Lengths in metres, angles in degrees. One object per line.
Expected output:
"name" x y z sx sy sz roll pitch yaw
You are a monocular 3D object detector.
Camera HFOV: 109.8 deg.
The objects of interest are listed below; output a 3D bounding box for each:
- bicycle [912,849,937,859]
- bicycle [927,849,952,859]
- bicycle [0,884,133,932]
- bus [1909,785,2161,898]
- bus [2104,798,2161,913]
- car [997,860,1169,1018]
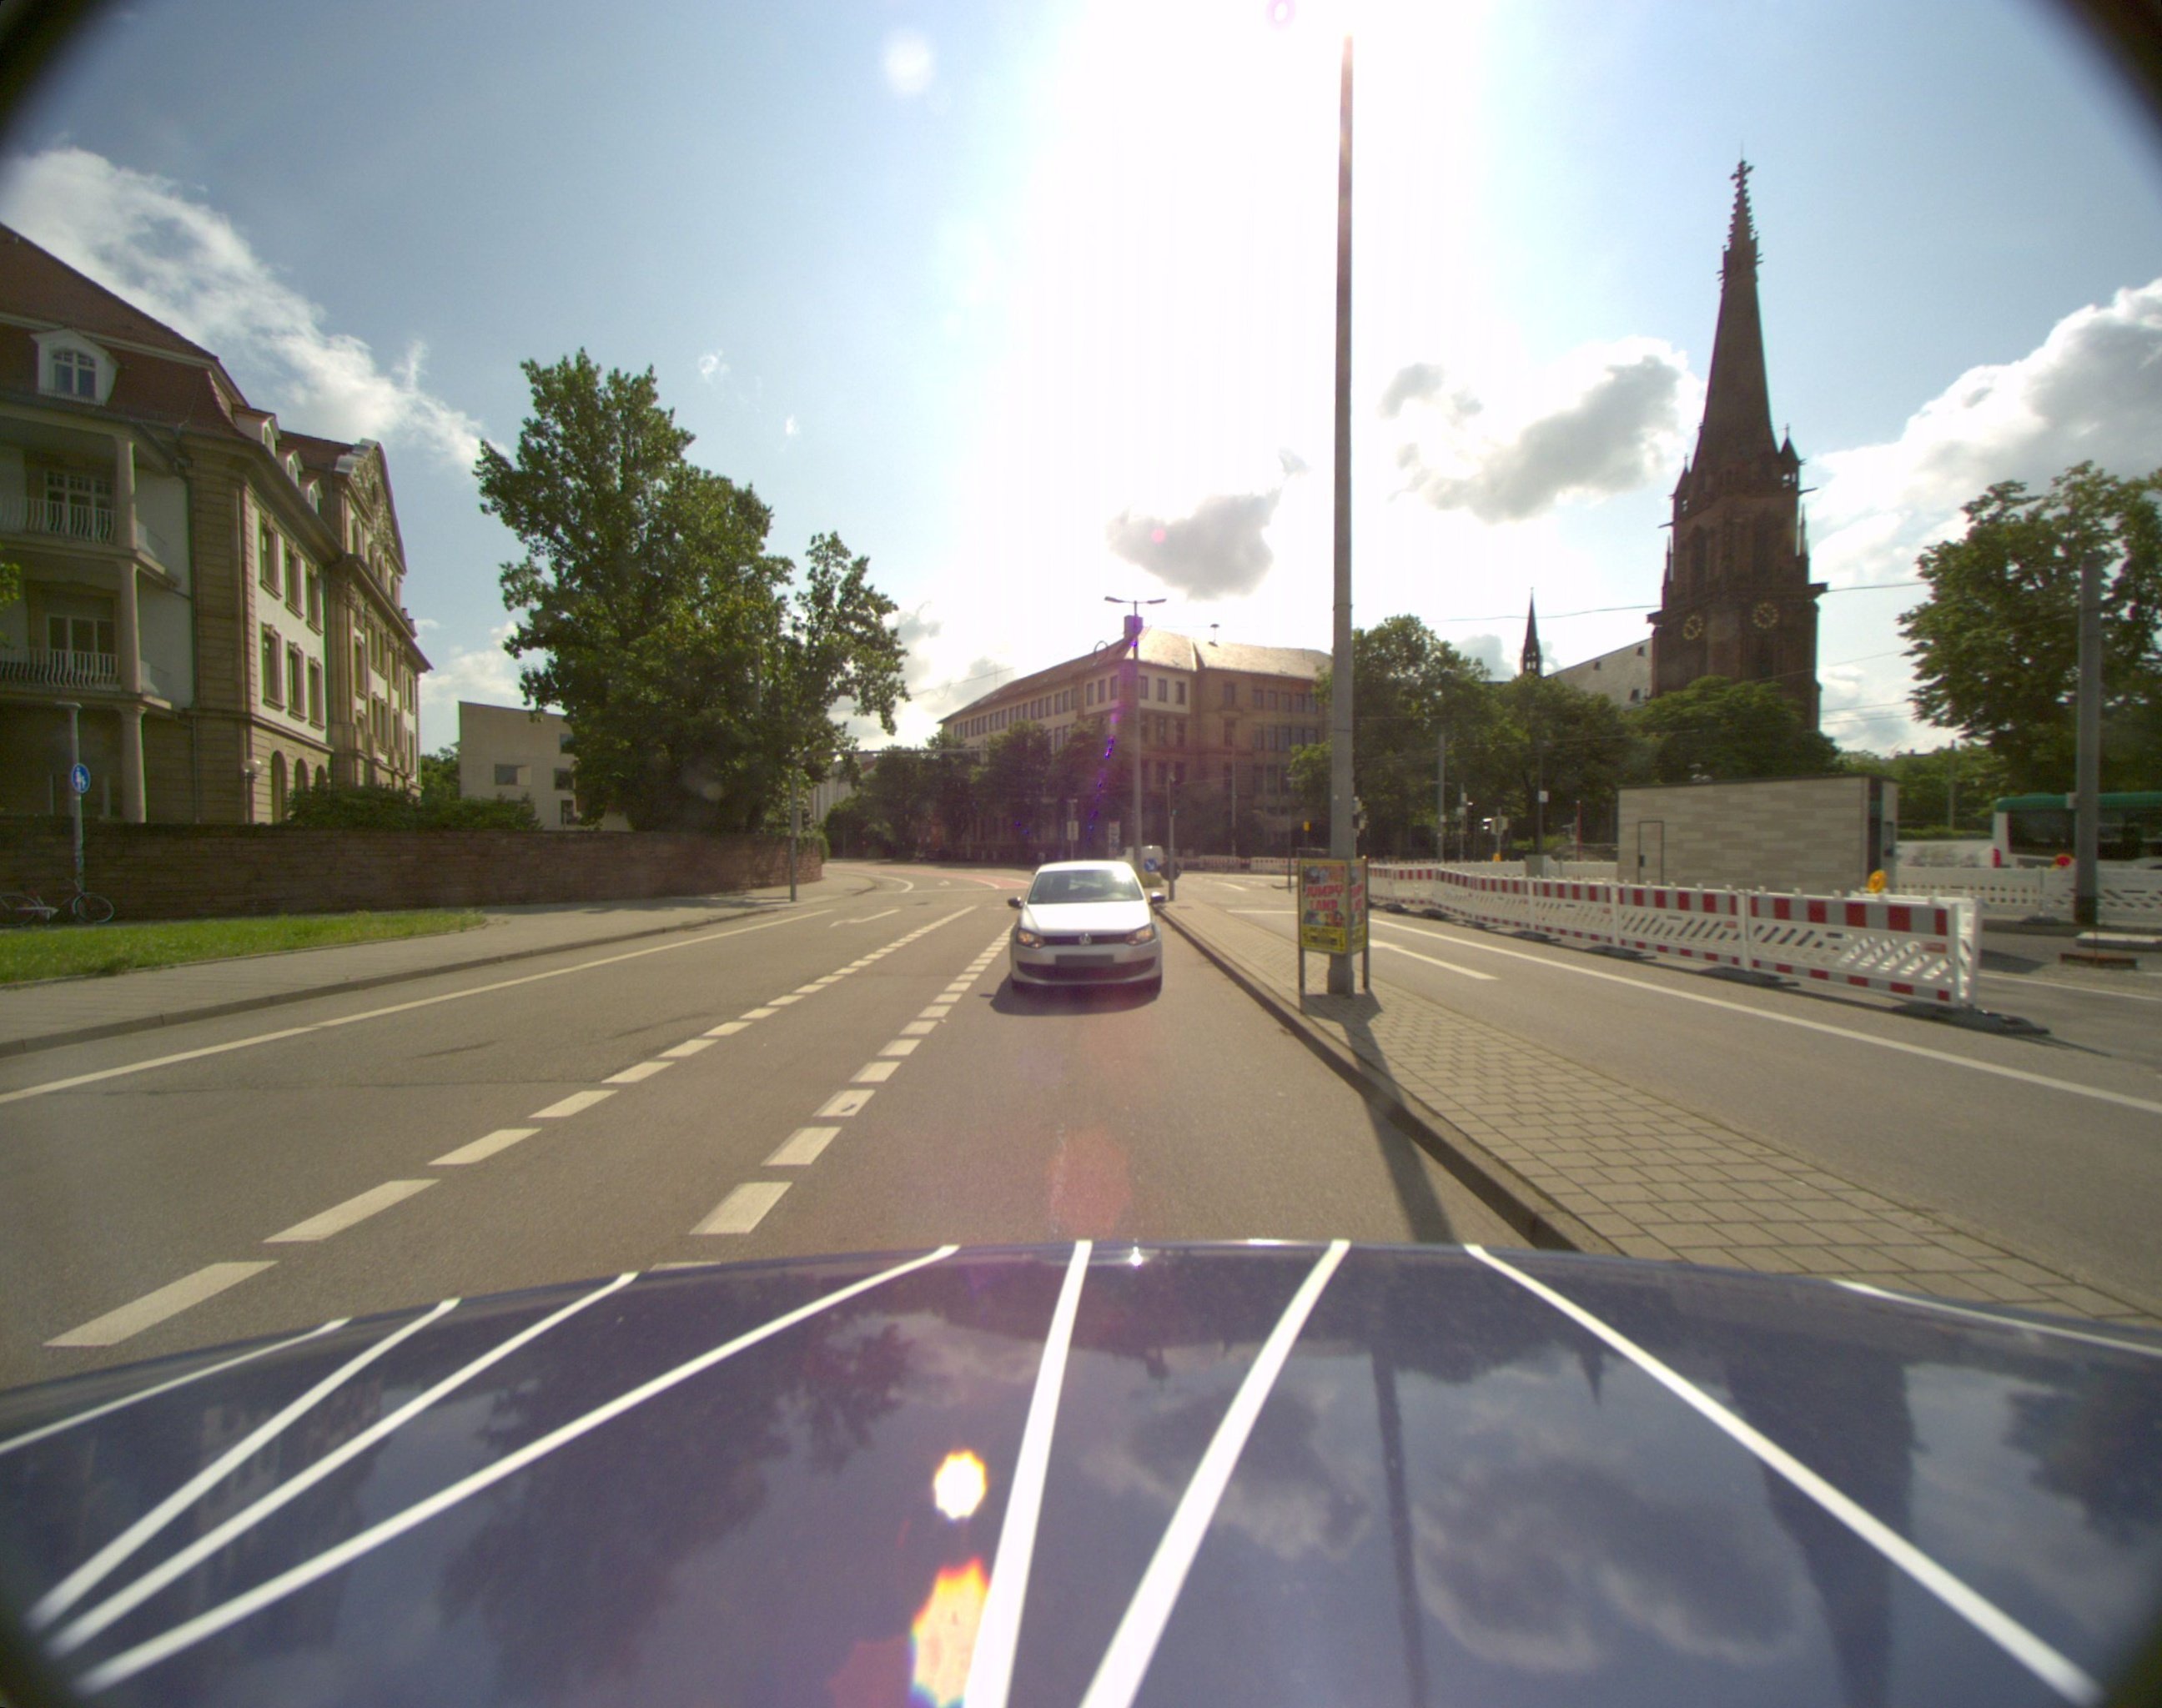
"bicycle" -20.029 0.049 97.360 2.891 1.201 1.073 0 4 8
"bicycle" -17.693 0.004 95.107 2.891 1.201 1.050 0 4 8
"bicycle" -21.313 1.103 15.704 0.856 0.856 2.065 4 3 44
"bus" 32.881 -0.358 21.747 2.999 3.243 12.043 0 1 -34
"bus" 31.348 0.067 18.378 2.378 3.040 7.742 -1 1 -34
"car" 0.027 0.863 9.558 1.655 1.433 4.004 -2 1 0
